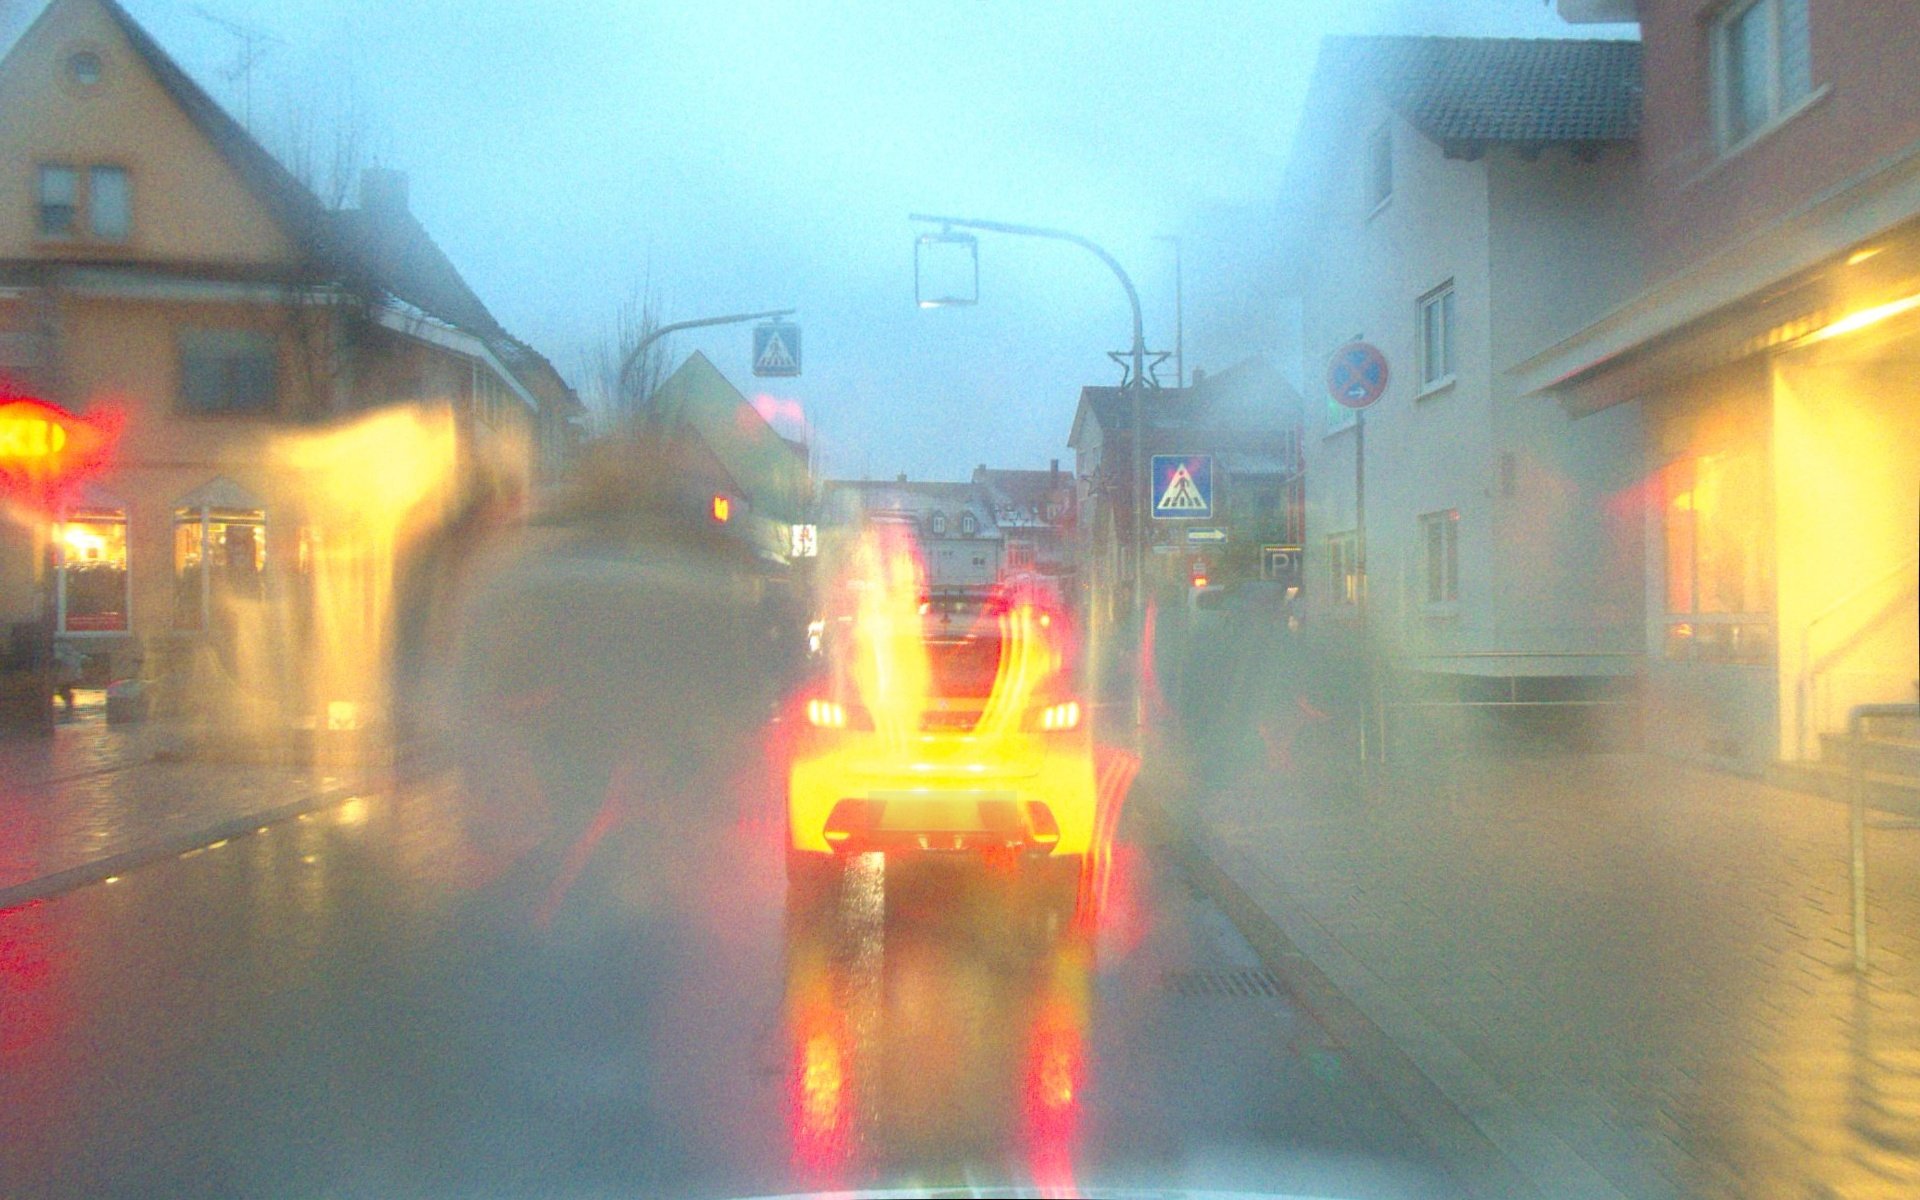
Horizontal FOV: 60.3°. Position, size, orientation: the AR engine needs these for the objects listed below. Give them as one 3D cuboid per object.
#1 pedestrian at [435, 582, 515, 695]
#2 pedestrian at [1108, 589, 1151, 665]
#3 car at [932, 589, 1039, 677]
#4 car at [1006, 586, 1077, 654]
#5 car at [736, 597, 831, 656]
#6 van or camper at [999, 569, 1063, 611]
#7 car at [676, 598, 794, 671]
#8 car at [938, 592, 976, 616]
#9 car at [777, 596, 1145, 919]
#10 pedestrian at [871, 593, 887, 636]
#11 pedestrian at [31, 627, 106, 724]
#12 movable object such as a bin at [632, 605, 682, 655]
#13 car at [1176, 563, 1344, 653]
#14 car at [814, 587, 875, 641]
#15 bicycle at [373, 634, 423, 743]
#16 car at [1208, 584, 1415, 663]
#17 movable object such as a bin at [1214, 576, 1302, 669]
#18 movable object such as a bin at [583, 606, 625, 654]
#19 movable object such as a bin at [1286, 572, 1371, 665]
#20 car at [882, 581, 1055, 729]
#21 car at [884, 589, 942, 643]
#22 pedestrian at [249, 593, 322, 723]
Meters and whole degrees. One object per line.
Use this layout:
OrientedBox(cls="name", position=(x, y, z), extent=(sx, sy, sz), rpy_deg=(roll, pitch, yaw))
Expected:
OrientedBox(cls="pedestrian", position=(-7.433, 0.581, 25.379), extent=(0.809, 1.687, 1.098), rpy_deg=(1, 0, 3))
OrientedBox(cls="pedestrian", position=(4.351, 0.686, 42.470), extent=(0.947, 1.922, 1.006), rpy_deg=(1, -1, -1))
OrientedBox(cls="car", position=(0.444, 0.629, 33.135), extent=(1.953, 1.616, 3.999), rpy_deg=(1, 0, -2))
OrientedBox(cls="car", position=(2.371, 0.581, 49.036), extent=(1.952, 1.890, 4.000), rpy_deg=(1, 0, 1))
OrientedBox(cls="car", position=(-4.831, 0.710, 45.977), extent=(1.952, 1.549, 4.979), rpy_deg=(0, 0, 2))
OrientedBox(cls="van or camper", position=(5.610, -0.746, 131.779), extent=(2.613, 3.100, 6.692), rpy_deg=(-4, 1, -21))
OrientedBox(cls="car", position=(-5.197, 0.768, 38.860), extent=(1.952, 1.585, 4.622), rpy_deg=(1, 0, 2))
OrientedBox(cls="car", position=(-0.263, 0.273, 130.762), extent=(1.961, 1.796, 4.333), rpy_deg=(-2, 1, -15))
OrientedBox(cls="car", position=(-0.060, 0.782, 10.092), extent=(1.778, 1.560, 3.998), rpy_deg=(1, 0, -2))
OrientedBox(cls="pedestrian", position=(-3.076, 0.563, 62.999), extent=(0.562, 1.613, 0.530), rpy_deg=(0, 1, 2))
OrientedBox(cls="pedestrian", position=(-12.128, 1.011, 22.492), extent=(0.682, 1.267, 0.813), rpy_deg=(2, -1, -44))
OrientedBox(cls="movable object such as a bin", position=(-8.776, 0.861, 47.993), extent=(1.315, 1.378, 0.887), rpy_deg=(-3, 0, -8))
OrientedBox(cls="car", position=(7.576, 0.211, 41.908), extent=(4.003, 2.085, 2.002), rpy_deg=(-2, 0, 10))
OrientedBox(cls="car", position=(-4.078, 0.460, 59.151), extent=(2.044, 1.823, 5.021), rpy_deg=(0, 0, -3))
OrientedBox(cls="bicycle", position=(-6.390, 0.982, 18.844), extent=(0.319, 1.079, 1.738), rpy_deg=(-5, 2, -14))
OrientedBox(cls="car", position=(7.128, 0.490, 33.852), extent=(3.903, 1.512, 1.913), rpy_deg=(-1, -1, 4))
OrientedBox(cls="movable object such as a bin", position=(5.635, 0.425, 31.377), extent=(1.364, 1.672, 1.261), rpy_deg=(-2, 0, -1))
OrientedBox(cls="movable object such as a bin", position=(-10.280, 0.860, 47.824), extent=(1.128, 1.378, 0.850), rpy_deg=(0, 0, -9))
OrientedBox(cls="movable object such as a bin", position=(6.968, 0.346, 31.318), extent=(1.259, 1.672, 1.185), rpy_deg=(-3, 0, -1))
OrientedBox(cls="car", position=(0.051, 0.639, 20.895), extent=(1.952, 1.653, 3.999), rpy_deg=(1, 0, -2))
OrientedBox(cls="car", position=(-1.689, 0.548, 60.879), extent=(1.953, 1.735, 4.967), rpy_deg=(2, 1, 0))
OrientedBox(cls="pedestrian", position=(-10.929, 0.924, 26.797), extent=(0.809, 2.049, 0.734), rpy_deg=(1, -1, 33))
